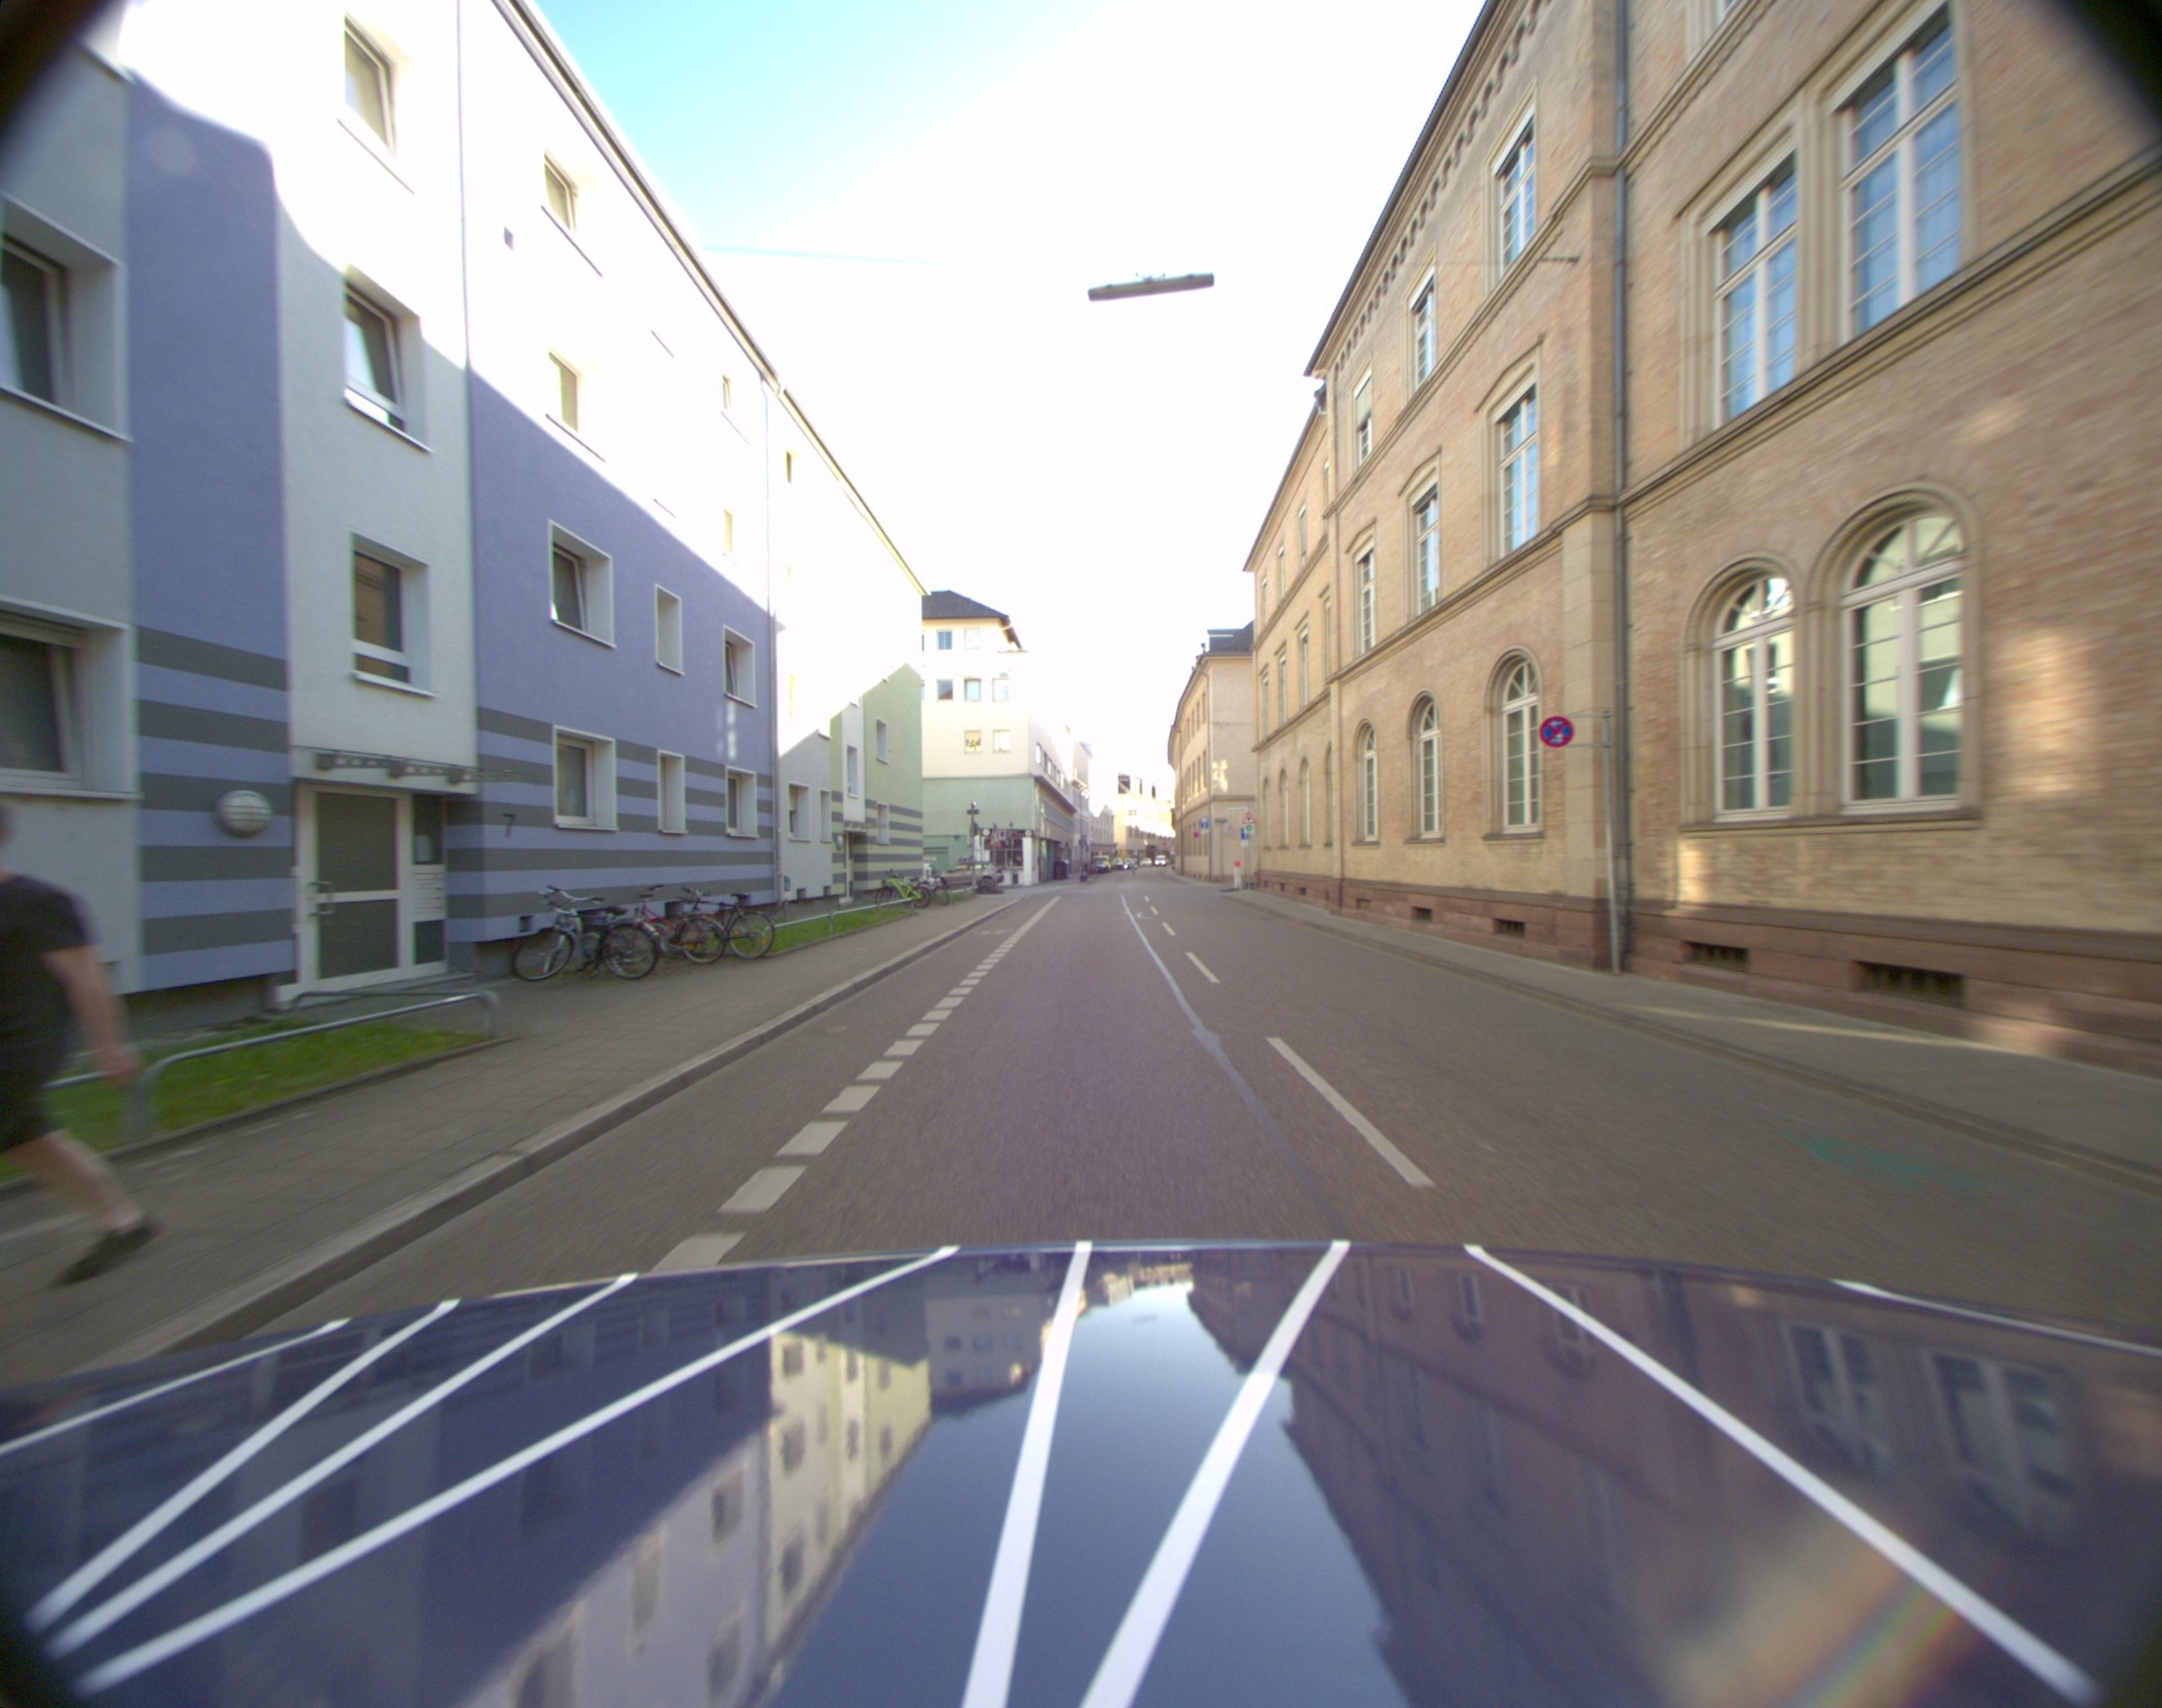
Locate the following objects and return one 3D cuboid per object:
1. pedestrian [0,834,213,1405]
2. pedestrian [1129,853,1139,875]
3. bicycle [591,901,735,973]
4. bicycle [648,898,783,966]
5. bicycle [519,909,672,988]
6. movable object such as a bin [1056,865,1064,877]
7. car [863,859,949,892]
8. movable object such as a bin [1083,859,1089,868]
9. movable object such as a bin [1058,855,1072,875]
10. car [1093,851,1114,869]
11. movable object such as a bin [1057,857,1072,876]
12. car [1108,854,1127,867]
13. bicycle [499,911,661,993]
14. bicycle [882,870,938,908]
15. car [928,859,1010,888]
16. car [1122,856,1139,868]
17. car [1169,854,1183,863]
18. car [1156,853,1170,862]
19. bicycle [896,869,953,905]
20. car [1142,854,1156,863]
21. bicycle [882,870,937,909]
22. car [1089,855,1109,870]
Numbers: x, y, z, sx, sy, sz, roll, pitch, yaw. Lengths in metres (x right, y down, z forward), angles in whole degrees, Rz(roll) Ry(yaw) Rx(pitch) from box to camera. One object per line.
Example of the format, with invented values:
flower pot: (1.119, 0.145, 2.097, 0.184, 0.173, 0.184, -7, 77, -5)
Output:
pedestrian: (-3.655, 0.814, 2.283, 0.698, 1.750, 1.189, 2, 1, 2)
pedestrian: (4.171, 0.747, 59.433, 0.694, 1.660, 0.875, -3, 1, 6)
bicycle: (-5.917, 1.165, 10.801, 1.752, 0.941, 0.552, 0, 1, 1)
bicycle: (-5.466, 1.161, 11.413, 1.752, 0.941, 0.552, 0, 1, 1)
bicycle: (-6.146, 1.187, 9.632, 1.752, 0.941, 0.326, 0, 1, 2)
movable object such as a bin: (-1.608, 1.279, 58.469, 0.558, 0.894, 0.523, 1, 3, 4)
car: (-8.116, 0.977, 35.427, 3.553, 1.473, 1.709, 0, 1, 3)
movable object such as a bin: (0.557, 1.064, 86.525, 0.607, 1.045, 0.709, 4, 1, 5)
movable object such as a bin: (-1.285, 0.856, 61.026, 0.983, 1.472, 1.551, 1, 3, 4)
car: (2.587, 0.654, 85.015, 1.887, 1.871, 4.848, -2, 0, 6)
movable object such as a bin: (-1.280, 0.981, 59.390, 0.983, 1.377, 1.320, 1, 3, 4)
car: (4.868, 0.889, 100.978, 1.828, 1.645, 4.497, -2, 0, 11)
bicycle: (-6.085, 1.188, 9.249, 1.752, 0.941, 0.335, 0, 1, 1)
bicycle: (-5.383, 1.091, 23.942, 1.646, 1.135, 0.283, 2, 0, -7)
car: (-6.031, 1.018, 41.143, 4.088, 1.473, 1.865, -1, 1, 2)
car: (6.983, 1.142, 107.067, 1.828, 1.550, 3.990, -2, 0, 11)
car: (19.013, 0.822, 152.235, 1.773, 1.574, 3.862, -5, -1, 20)
car: (15.440, 0.655, 142.788, 1.774, 1.574, 3.861, -5, -1, 19)
bicycle: (-5.197, 1.090, 25.261, 1.752, 1.135, 0.552, 2, 0, 1)
car: (11.750, 0.783, 131.137, 1.733, 1.539, 4.004, -2, 0, 13)
bicycle: (-5.347, 1.111, 23.661, 1.607, 1.135, 0.237, 2, 0, -7)
car: (1.889, 0.877, 78.510, 1.887, 1.480, 4.369, -2, 0, 4)
